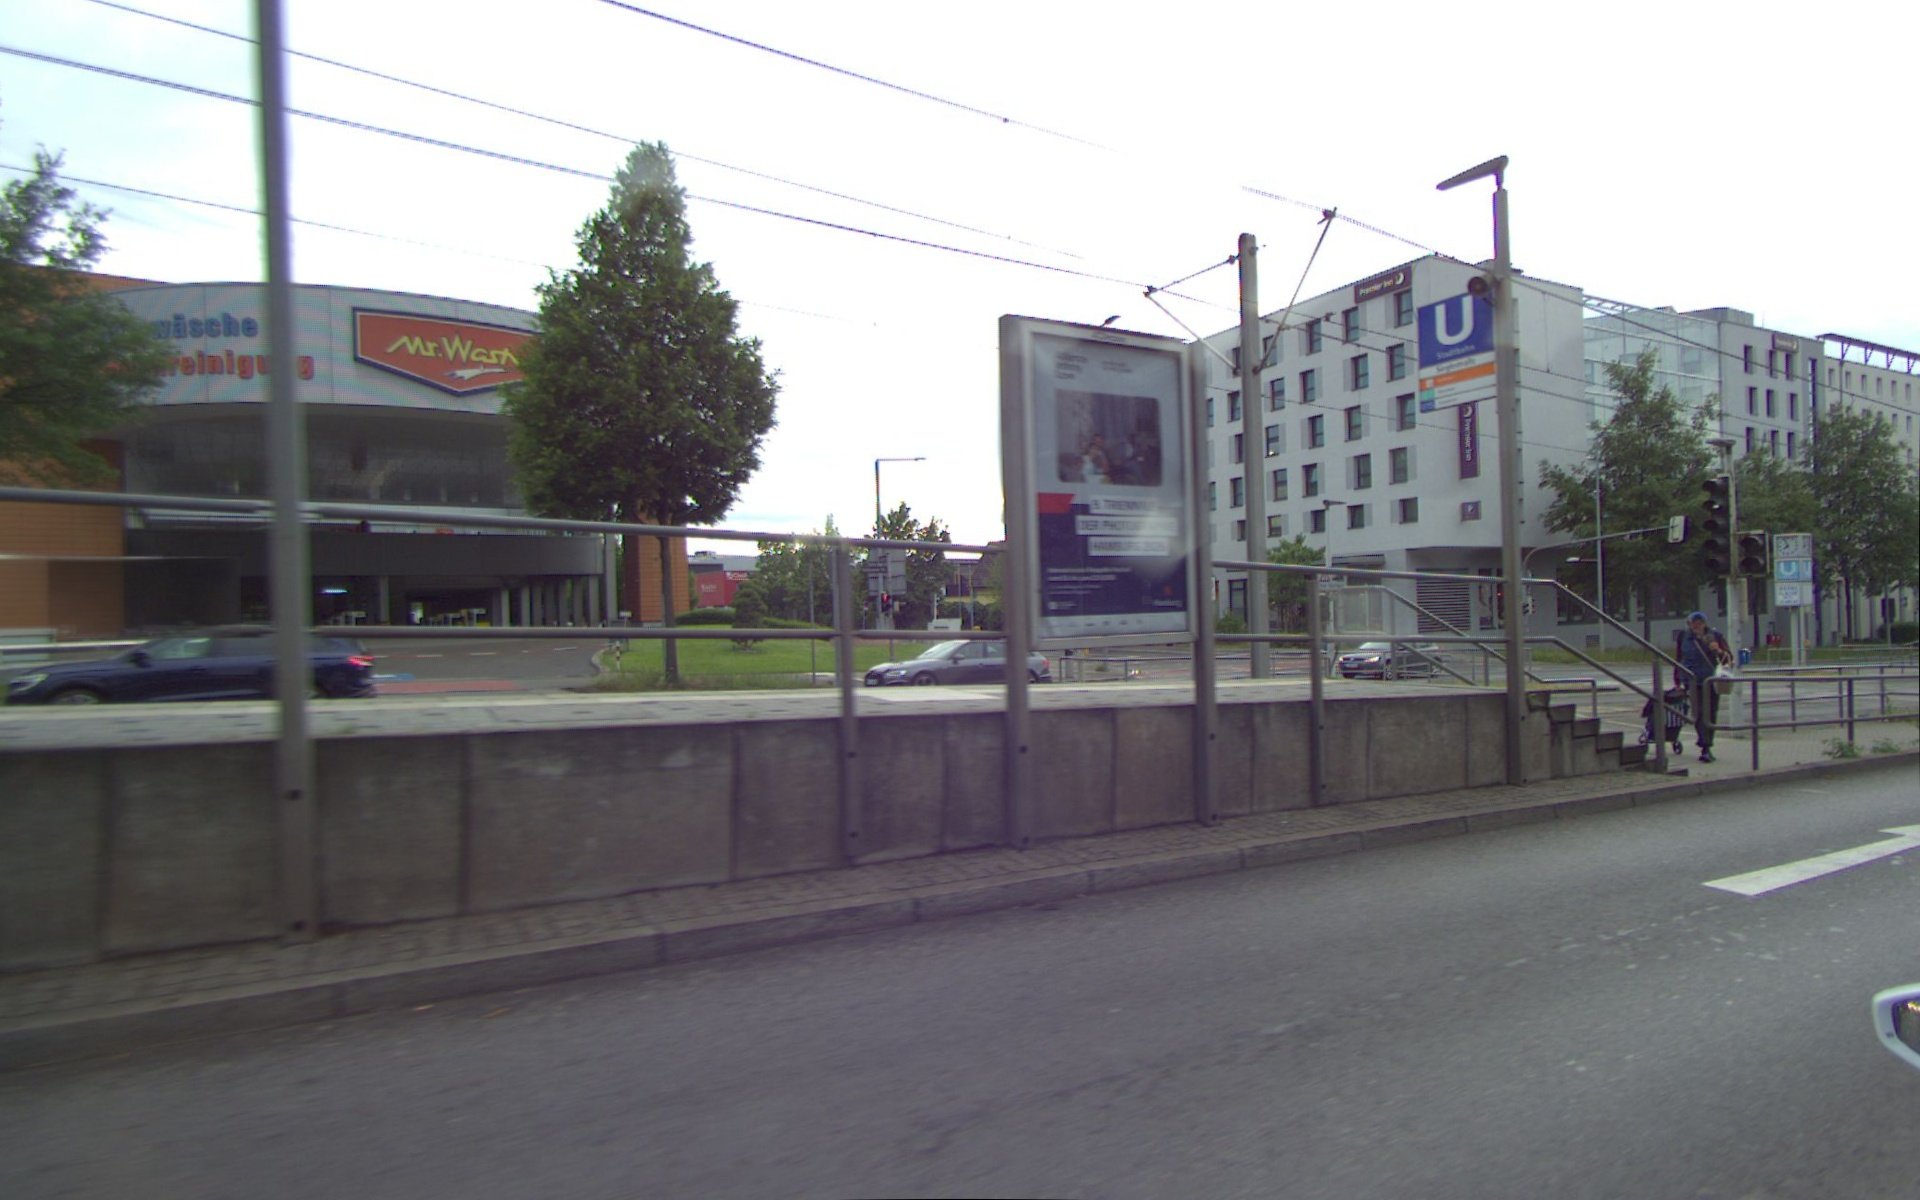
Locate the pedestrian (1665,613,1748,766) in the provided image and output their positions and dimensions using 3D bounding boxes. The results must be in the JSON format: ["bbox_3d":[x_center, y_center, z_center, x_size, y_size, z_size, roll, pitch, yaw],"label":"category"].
[{"bbox_3d":[8.502,0.985,11.466,0.690,1.672,0.648,1,0,32],"label":"pedestrian"}]

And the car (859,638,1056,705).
[{"bbox_3d":[-0.026,1.621,23.664,4.341,1.446,1.843,1,-3,-33],"label":"car"}]

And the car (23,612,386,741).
[{"bbox_3d":[-11.656,1.128,15.967,4.337,1.798,1.984,1,-1,-30],"label":"car"}]

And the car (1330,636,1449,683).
[{"bbox_3d":[14.038,1.908,32.809,3.736,1.442,1.720,1,-1,-31],"label":"car"}]
